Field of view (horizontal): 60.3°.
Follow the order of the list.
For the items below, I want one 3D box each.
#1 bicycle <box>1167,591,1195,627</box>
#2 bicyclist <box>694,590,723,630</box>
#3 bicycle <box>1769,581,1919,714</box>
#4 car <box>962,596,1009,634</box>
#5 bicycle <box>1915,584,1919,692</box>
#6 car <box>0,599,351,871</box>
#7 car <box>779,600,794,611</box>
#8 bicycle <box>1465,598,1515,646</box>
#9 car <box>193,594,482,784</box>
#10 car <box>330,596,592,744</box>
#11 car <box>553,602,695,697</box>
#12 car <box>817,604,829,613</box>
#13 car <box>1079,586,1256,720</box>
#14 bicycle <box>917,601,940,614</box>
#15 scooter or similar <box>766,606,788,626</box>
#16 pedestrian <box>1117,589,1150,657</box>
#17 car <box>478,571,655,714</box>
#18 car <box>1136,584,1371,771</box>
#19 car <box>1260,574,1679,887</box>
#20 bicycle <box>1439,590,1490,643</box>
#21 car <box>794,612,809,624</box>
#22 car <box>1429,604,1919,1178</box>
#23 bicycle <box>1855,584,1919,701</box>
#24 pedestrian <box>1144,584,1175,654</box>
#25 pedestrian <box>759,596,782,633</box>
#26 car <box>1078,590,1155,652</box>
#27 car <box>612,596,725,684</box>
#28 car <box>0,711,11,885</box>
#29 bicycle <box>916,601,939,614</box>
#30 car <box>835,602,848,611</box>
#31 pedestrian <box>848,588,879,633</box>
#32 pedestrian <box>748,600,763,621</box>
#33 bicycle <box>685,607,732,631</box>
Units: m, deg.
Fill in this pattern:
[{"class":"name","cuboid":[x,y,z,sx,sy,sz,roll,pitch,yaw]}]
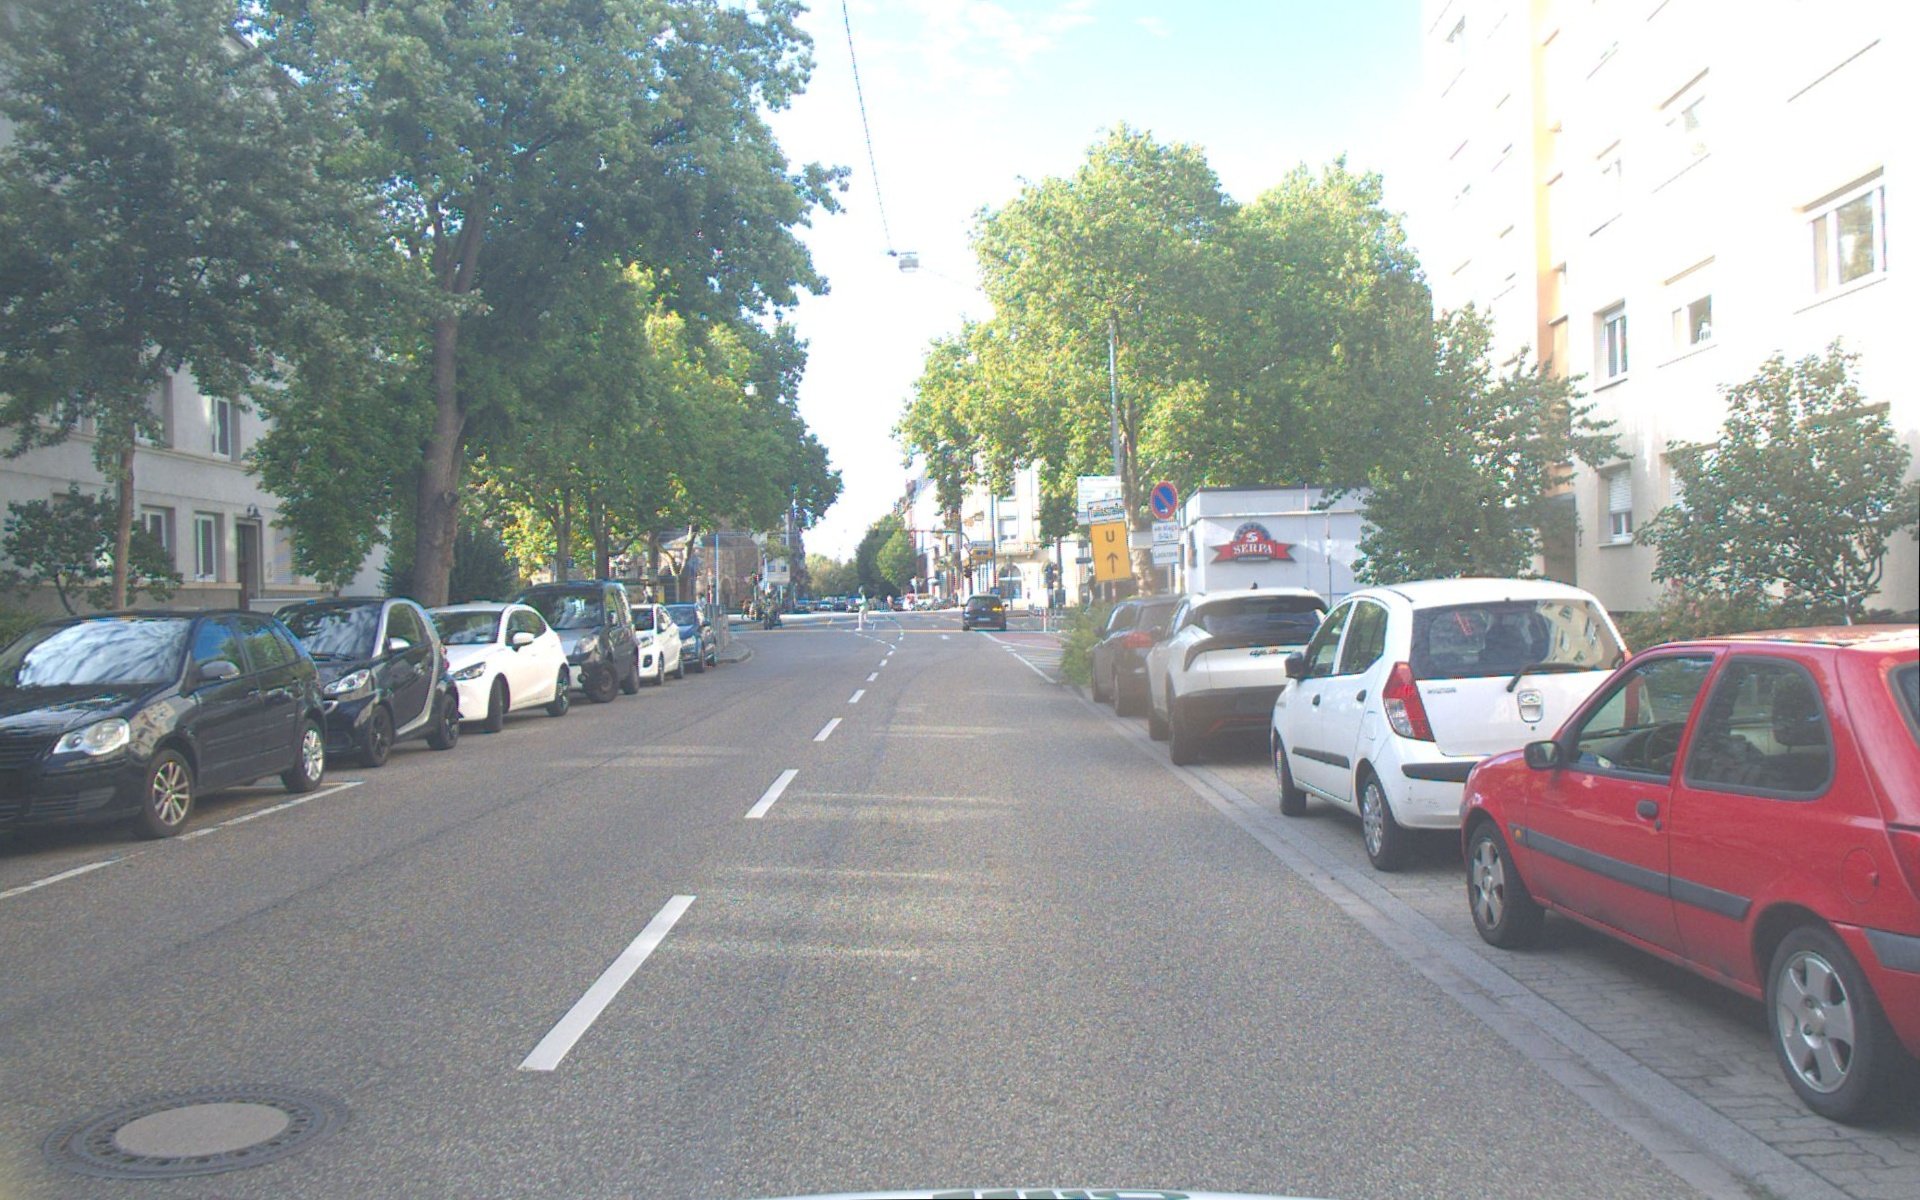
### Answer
[{"class":"bicycle","cuboid":[7.743,0.301,58.091,0.753,1.227,1.816,-3,0,2]},{"class":"bicyclist","cuboid":[-10.911,0.420,71.715,1.092,1.721,0.810,-1,0,-18]},{"class":"bicycle","cuboid":[9.003,0.439,16.606,0.585,1.207,2.209,-4,0,0]},{"class":"car","cuboid":[0.994,0.578,66.479,1.716,1.438,3.999,-1,0,-1]},{"class":"bicycle","cuboid":[10.417,0.397,16.435,0.518,1.134,2.209,-2,0,0]},{"class":"car","cuboid":[-5.755,0.813,11.476,1.666,1.512,3.846,-4,0,-2]},{"class":"car","cuboid":[-20.883,0.682,198.733,1.519,1.251,3.586,-1,0,-1]},{"class":"bicycle","cuboid":[11.154,0.452,34.829,0.468,0.980,1.552,-1,0,-3]},{"class":"car","cuboid":[-5.863,0.768,15.934,1.521,1.546,3.016,-4,0,1]},{"class":"car","cuboid":[-5.964,0.764,20.321,1.659,1.519,4.334,-3,0,3]},{"class":"car","cuboid":[-6.171,0.869,30.807,1.762,1.519,3.803,-4,0,0]},{"class":"car","cuboid":[-20.122,1.306,243.350,1.519,1.251,3.586,-1,0,-1]},{"class":"car","cuboid":[2.668,0.630,22.118,1.656,1.555,4.236,-2,0,-2]},{"class":"bicycle","cuboid":[-2.965,0.692,155.088,1.988,1.101,0.628,-2,0,-14]},{"class":"scooter or similar","cuboid":[-8.738,0.763,79.002,0.788,0.939,1.015,-1,0,7]},{"class":"pedestrian","cuboid":[4.139,0.540,39.475,0.639,1.565,0.743,-3,0,-1]},{"class":"car","cuboid":[-5.942,0.593,25.478,1.688,1.915,4.191,-3,0,-1]},{"class":"car","cuboid":[2.730,0.654,16.245,1.655,1.555,4.239,-2,0,2]},{"class":"car","cuboid":[2.968,0.672,10.352,1.519,1.584,3.468,-2,0,0]},{"class":"bicycle","cuboid":[10.610,0.340,34.812,0.511,1.074,1.552,-1,0,-3]},{"class":"car","cuboid":[-18.123,2.029,189.221,1.519,1.251,3.586,-1,0,-1]},{"class":"car","cuboid":[3.102,0.761,6.073,1.485,1.422,3.673,-3,0,-3]},{"class":"bicycle","cuboid":[9.809,0.420,16.434,0.585,1.134,2.209,-3,0,0]},{"class":"pedestrian","cuboid":[4.825,0.451,40.087,0.639,1.674,0.743,-1,0,-1]},{"class":"pedestrian","cuboid":[-8.910,0.666,77.854,0.796,1.683,1.077,-1,0,8]},{"class":"car","cuboid":[3.993,0.506,42.704,1.724,1.436,4.234,-3,0,3]},{"class":"car","cuboid":[-6.166,0.804,35.383,1.763,1.648,3.801,-4,0,-2]},{"class":"car","cuboid":[-5.978,0.722,6.523,1.762,1.697,4.482,-4,0,0]},{"class":"bicycle","cuboid":[-3.027,0.680,154.429,1.988,1.101,0.618,-2,0,-14]},{"class":"car","cuboid":[-17.409,0.955,243.780,1.742,1.251,3.586,-1,0,-2]},{"class":"pedestrian","cuboid":[-3.888,0.418,66.718,1.057,1.784,0.915,0,0,-17]},{"class":"pedestrian","cuboid":[-13.964,0.717,113.098,0.765,1.457,0.730,-1,0,23]},{"class":"bicycle","cuboid":[-10.912,0.818,71.747,1.892,1.011,0.759,-1,0,-21]}]
